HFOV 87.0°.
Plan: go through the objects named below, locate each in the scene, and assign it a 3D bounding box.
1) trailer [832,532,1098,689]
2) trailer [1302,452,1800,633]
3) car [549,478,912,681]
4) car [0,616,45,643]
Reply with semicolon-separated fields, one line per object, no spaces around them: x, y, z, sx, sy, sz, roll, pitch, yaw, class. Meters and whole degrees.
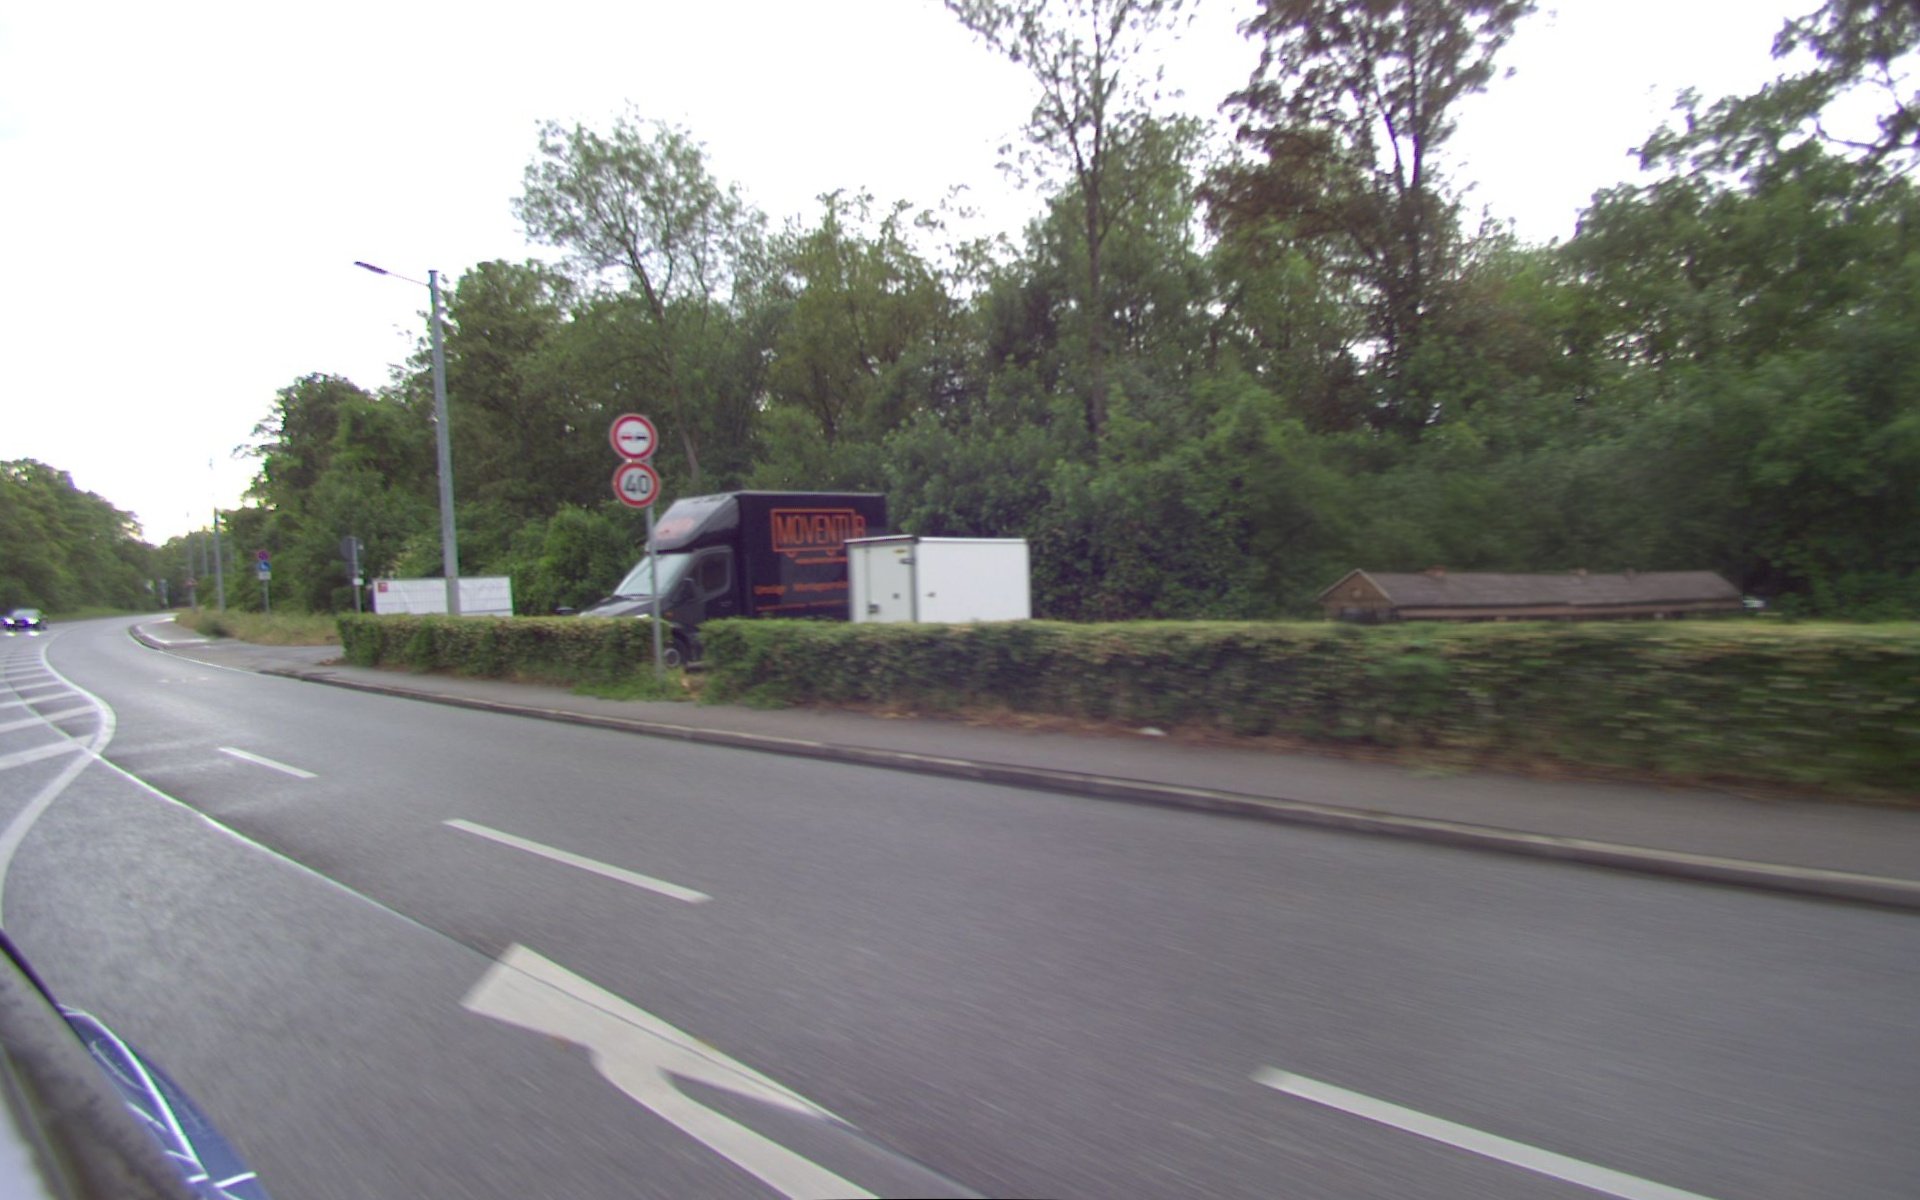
0.187;0.107;15.415;1.872;2.068;3.945;-1;1;42;trailer
11.043;-0.885;19.625;7.968;2.895;2.452;-1;0;39;trailer
-4.007;-0.411;18.897;2.749;3.136;6.211;0;2;39;car
-64.565;2.003;69.701;1.968;1.696;4.008;-1;1;-39;car
